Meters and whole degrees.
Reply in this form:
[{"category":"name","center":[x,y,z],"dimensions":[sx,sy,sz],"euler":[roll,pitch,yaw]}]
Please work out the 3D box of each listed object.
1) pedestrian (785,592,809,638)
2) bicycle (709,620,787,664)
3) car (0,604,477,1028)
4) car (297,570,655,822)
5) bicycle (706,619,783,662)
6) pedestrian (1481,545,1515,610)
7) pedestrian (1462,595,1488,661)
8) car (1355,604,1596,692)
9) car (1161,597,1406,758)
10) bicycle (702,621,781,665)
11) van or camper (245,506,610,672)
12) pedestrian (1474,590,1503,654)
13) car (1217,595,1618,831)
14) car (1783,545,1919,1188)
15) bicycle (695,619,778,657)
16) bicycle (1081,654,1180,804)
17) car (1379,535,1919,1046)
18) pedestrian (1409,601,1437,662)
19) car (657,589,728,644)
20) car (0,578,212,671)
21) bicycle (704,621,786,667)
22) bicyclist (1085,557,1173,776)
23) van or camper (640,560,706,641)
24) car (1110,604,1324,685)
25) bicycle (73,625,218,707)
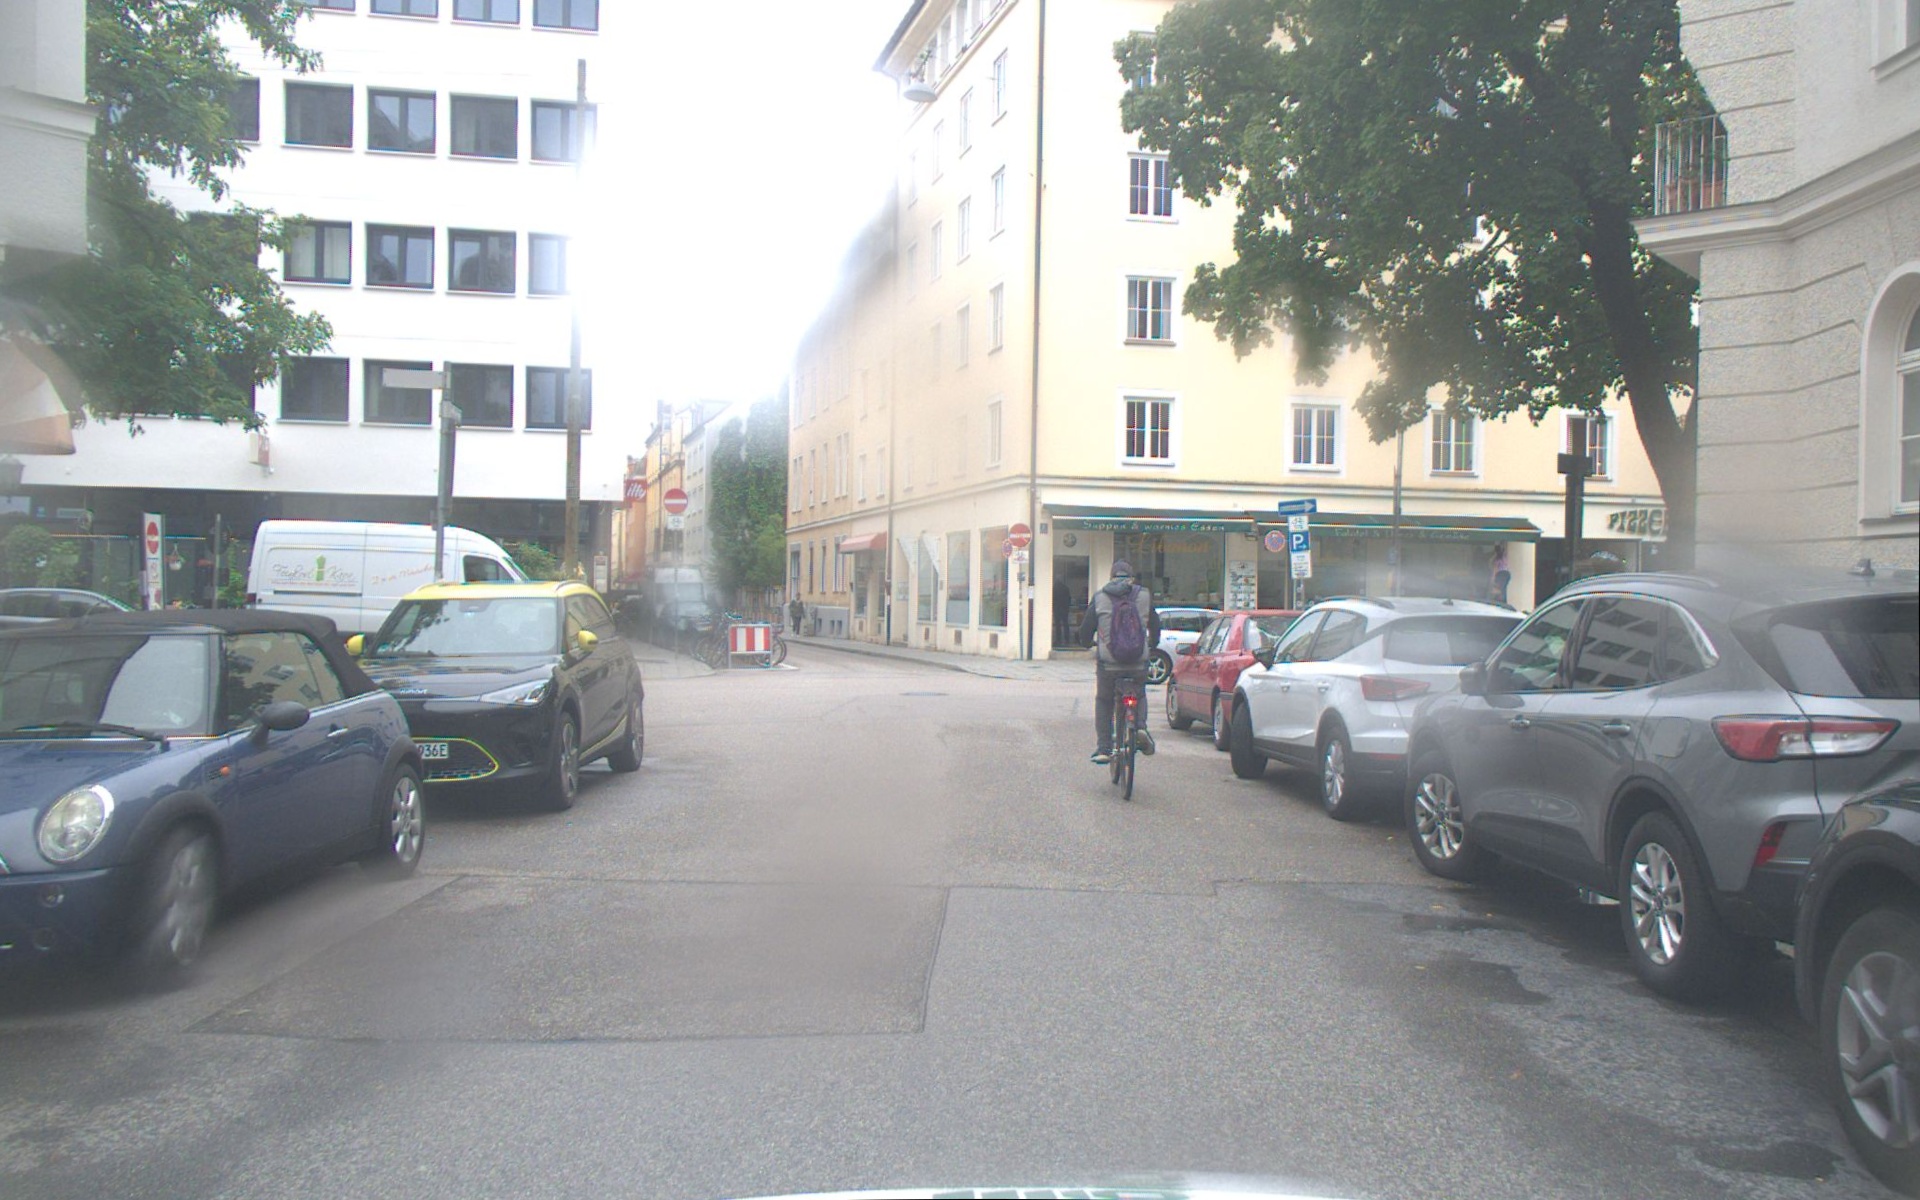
[{"category":"pedestrian","center":[-6.479,0.608,65.769],"dimensions":[0.862,1.809,0.771],"euler":[1,0,-13]},{"category":"bicycle","center":[-4.875,0.967,38.089],"dimensions":[1.709,0.985,0.541],"euler":[1,0,-18]},{"category":"car","center":[-3.685,0.739,7.591],"dimensions":[1.671,1.414,4.001],"euler":[-1,0,1]},{"category":"car","center":[-3.544,0.637,12.850],"dimensions":[1.642,1.625,3.944],"euler":[-1,0,-1]},{"category":"bicycle","center":[-5.042,0.955,38.691],"dimensions":[1.709,0.985,0.541],"euler":[1,0,-18]},{"category":"pedestrian","center":[13.598,-0.560,41.813],"dimensions":[0.542,1.602,0.576],"euler":[3,-1,-12]},{"category":"pedestrian","center":[12.661,0.684,40.661],"dimensions":[0.544,1.564,0.435],"euler":[2,2,19]},{"category":"car","center":[10.234,0.959,32.926],"dimensions":[4.260,1.620,1.815],"euler":[2,-2,-13]},{"category":"car","center":[3.332,0.735,17.829],"dimensions":[1.636,1.460,4.212],"euler":[2,0,-2]},{"category":"bicycle","center":[-4.940,0.970,37.426],"dimensions":[1.709,0.985,0.541],"euler":[1,0,-18]},{"category":"van or camper","center":[-9.120,-0.136,28.858],"dimensions":[5.798,2.724,1.868],"euler":[1,-2,-11]},{"category":"pedestrian","center":[13.149,0.547,41.162],"dimensions":[0.428,1.578,0.530],"euler":[1,0,-29]},{"category":"car","center":[3.328,0.747,12.848],"dimensions":[1.716,1.522,3.905],"euler":[1,0,-5]},{"category":"car","center":[3.364,0.730,2.802],"dimensions":[1.741,1.664,4.375],"euler":[2,0,0]},{"category":"bicycle","center":[-5.338,0.910,39.483],"dimensions":[1.881,0.878,0.615],"euler":[1,0,-18]},{"category":"bicycle","center":[1.285,0.954,12.698],"dimensions":[0.626,1.022,1.574],"euler":[1,0,2]},{"category":"car","center":[3.542,0.652,7.905],"dimensions":[1.754,1.743,4.424],"euler":[1,0,-3]},{"category":"pedestrian","center":[11.148,0.748,39.806],"dimensions":[0.502,1.458,0.582],"euler":[1,0,29]},{"category":"car","center":[-8.049,0.474,49.591],"dimensions":[1.801,1.562,3.986],"euler":[1,0,-13]},{"category":"car","center":[-14.720,0.427,27.351],"dimensions":[3.984,1.454,1.793],"euler":[1,-3,-14]},{"category":"bicycle","center":[-4.780,0.978,36.822],"dimensions":[1.727,0.985,0.592],"euler":[1,0,-18]},{"category":"bicyclist","center":[1.294,0.495,12.778],"dimensions":[0.593,1.635,0.757],"euler":[1,0,1]},{"category":"van or camper","center":[-9.676,0.021,55.596],"dimensions":[1.959,2.584,4.745],"euler":[1,0,-12]},{"category":"car","center":[4.994,0.891,32.494],"dimensions":[3.906,1.441,1.820],"euler":[1,-4,-1]},{"category":"bicycle","center":[-10.083,0.818,20.489],"dimensions":[1.541,0.964,0.891],"euler":[2,-2,-28]}]
